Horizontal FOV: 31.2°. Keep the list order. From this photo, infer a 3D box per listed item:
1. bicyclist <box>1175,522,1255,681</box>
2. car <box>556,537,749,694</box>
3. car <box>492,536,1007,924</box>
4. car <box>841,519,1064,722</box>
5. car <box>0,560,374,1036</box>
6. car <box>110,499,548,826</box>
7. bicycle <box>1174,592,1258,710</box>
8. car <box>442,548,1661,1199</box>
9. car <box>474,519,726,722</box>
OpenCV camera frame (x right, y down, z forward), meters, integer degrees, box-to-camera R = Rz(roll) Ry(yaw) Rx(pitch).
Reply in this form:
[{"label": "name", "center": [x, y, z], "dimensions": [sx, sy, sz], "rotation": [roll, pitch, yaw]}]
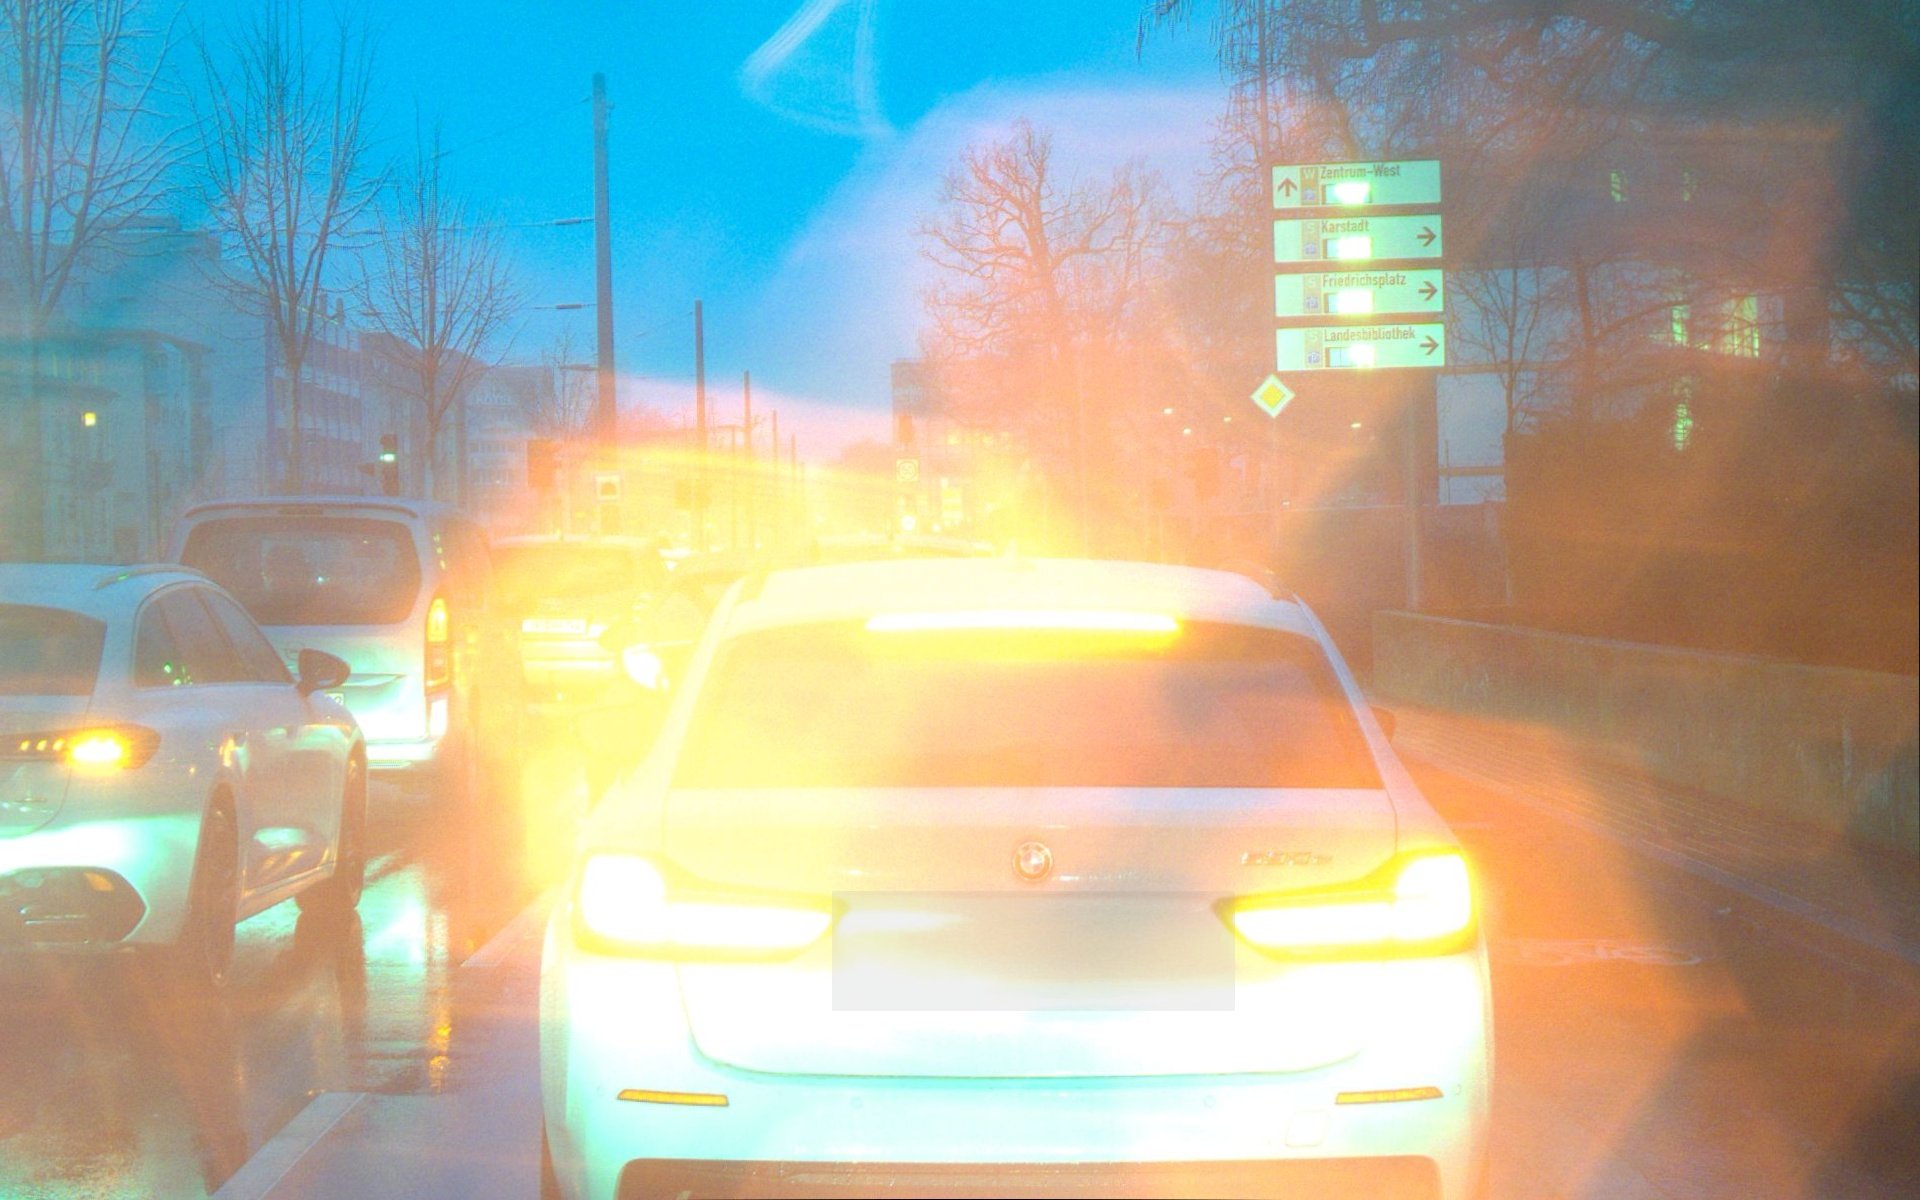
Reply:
[{"label": "bicyclist", "center": [2.272, 0.003, 30.699], "dimensions": [0.645, 1.384, 0.890], "rotation": [-1, 1, 2]}, {"label": "car", "center": [-3.332, 0.126, 37.900], "dimensions": [1.806, 1.640, 4.000], "rotation": [0, 1, 0]}, {"label": "car", "center": [-0.817, 0.451, 15.064], "dimensions": [1.936, 1.452, 4.164], "rotation": [0, 1, -1]}, {"label": "car", "center": [-0.079, 0.124, 29.799], "dimensions": [1.806, 1.640, 4.000], "rotation": [0, 1, 0]}, {"label": "car", "center": [-3.380, 0.560, 12.484], "dimensions": [1.846, 1.400, 4.614], "rotation": [0, 1, -2]}, {"label": "car", "center": [-3.616, 0.302, 20.477], "dimensions": [1.793, 1.730, 4.537], "rotation": [0, 1, 0]}, {"label": "bicycle", "center": [2.278, 0.439, 30.723], "dimensions": [0.645, 0.963, 2.046], "rotation": [-1, 1, 2]}, {"label": "car", "center": [0.131, 0.649, 7.732], "dimensions": [1.999, 1.503, 4.164], "rotation": [0, 1, -1]}, {"label": "car", "center": [-3.051, 0.127, 29.837], "dimensions": [1.806, 1.640, 4.000], "rotation": [0, 1, 0]}]
